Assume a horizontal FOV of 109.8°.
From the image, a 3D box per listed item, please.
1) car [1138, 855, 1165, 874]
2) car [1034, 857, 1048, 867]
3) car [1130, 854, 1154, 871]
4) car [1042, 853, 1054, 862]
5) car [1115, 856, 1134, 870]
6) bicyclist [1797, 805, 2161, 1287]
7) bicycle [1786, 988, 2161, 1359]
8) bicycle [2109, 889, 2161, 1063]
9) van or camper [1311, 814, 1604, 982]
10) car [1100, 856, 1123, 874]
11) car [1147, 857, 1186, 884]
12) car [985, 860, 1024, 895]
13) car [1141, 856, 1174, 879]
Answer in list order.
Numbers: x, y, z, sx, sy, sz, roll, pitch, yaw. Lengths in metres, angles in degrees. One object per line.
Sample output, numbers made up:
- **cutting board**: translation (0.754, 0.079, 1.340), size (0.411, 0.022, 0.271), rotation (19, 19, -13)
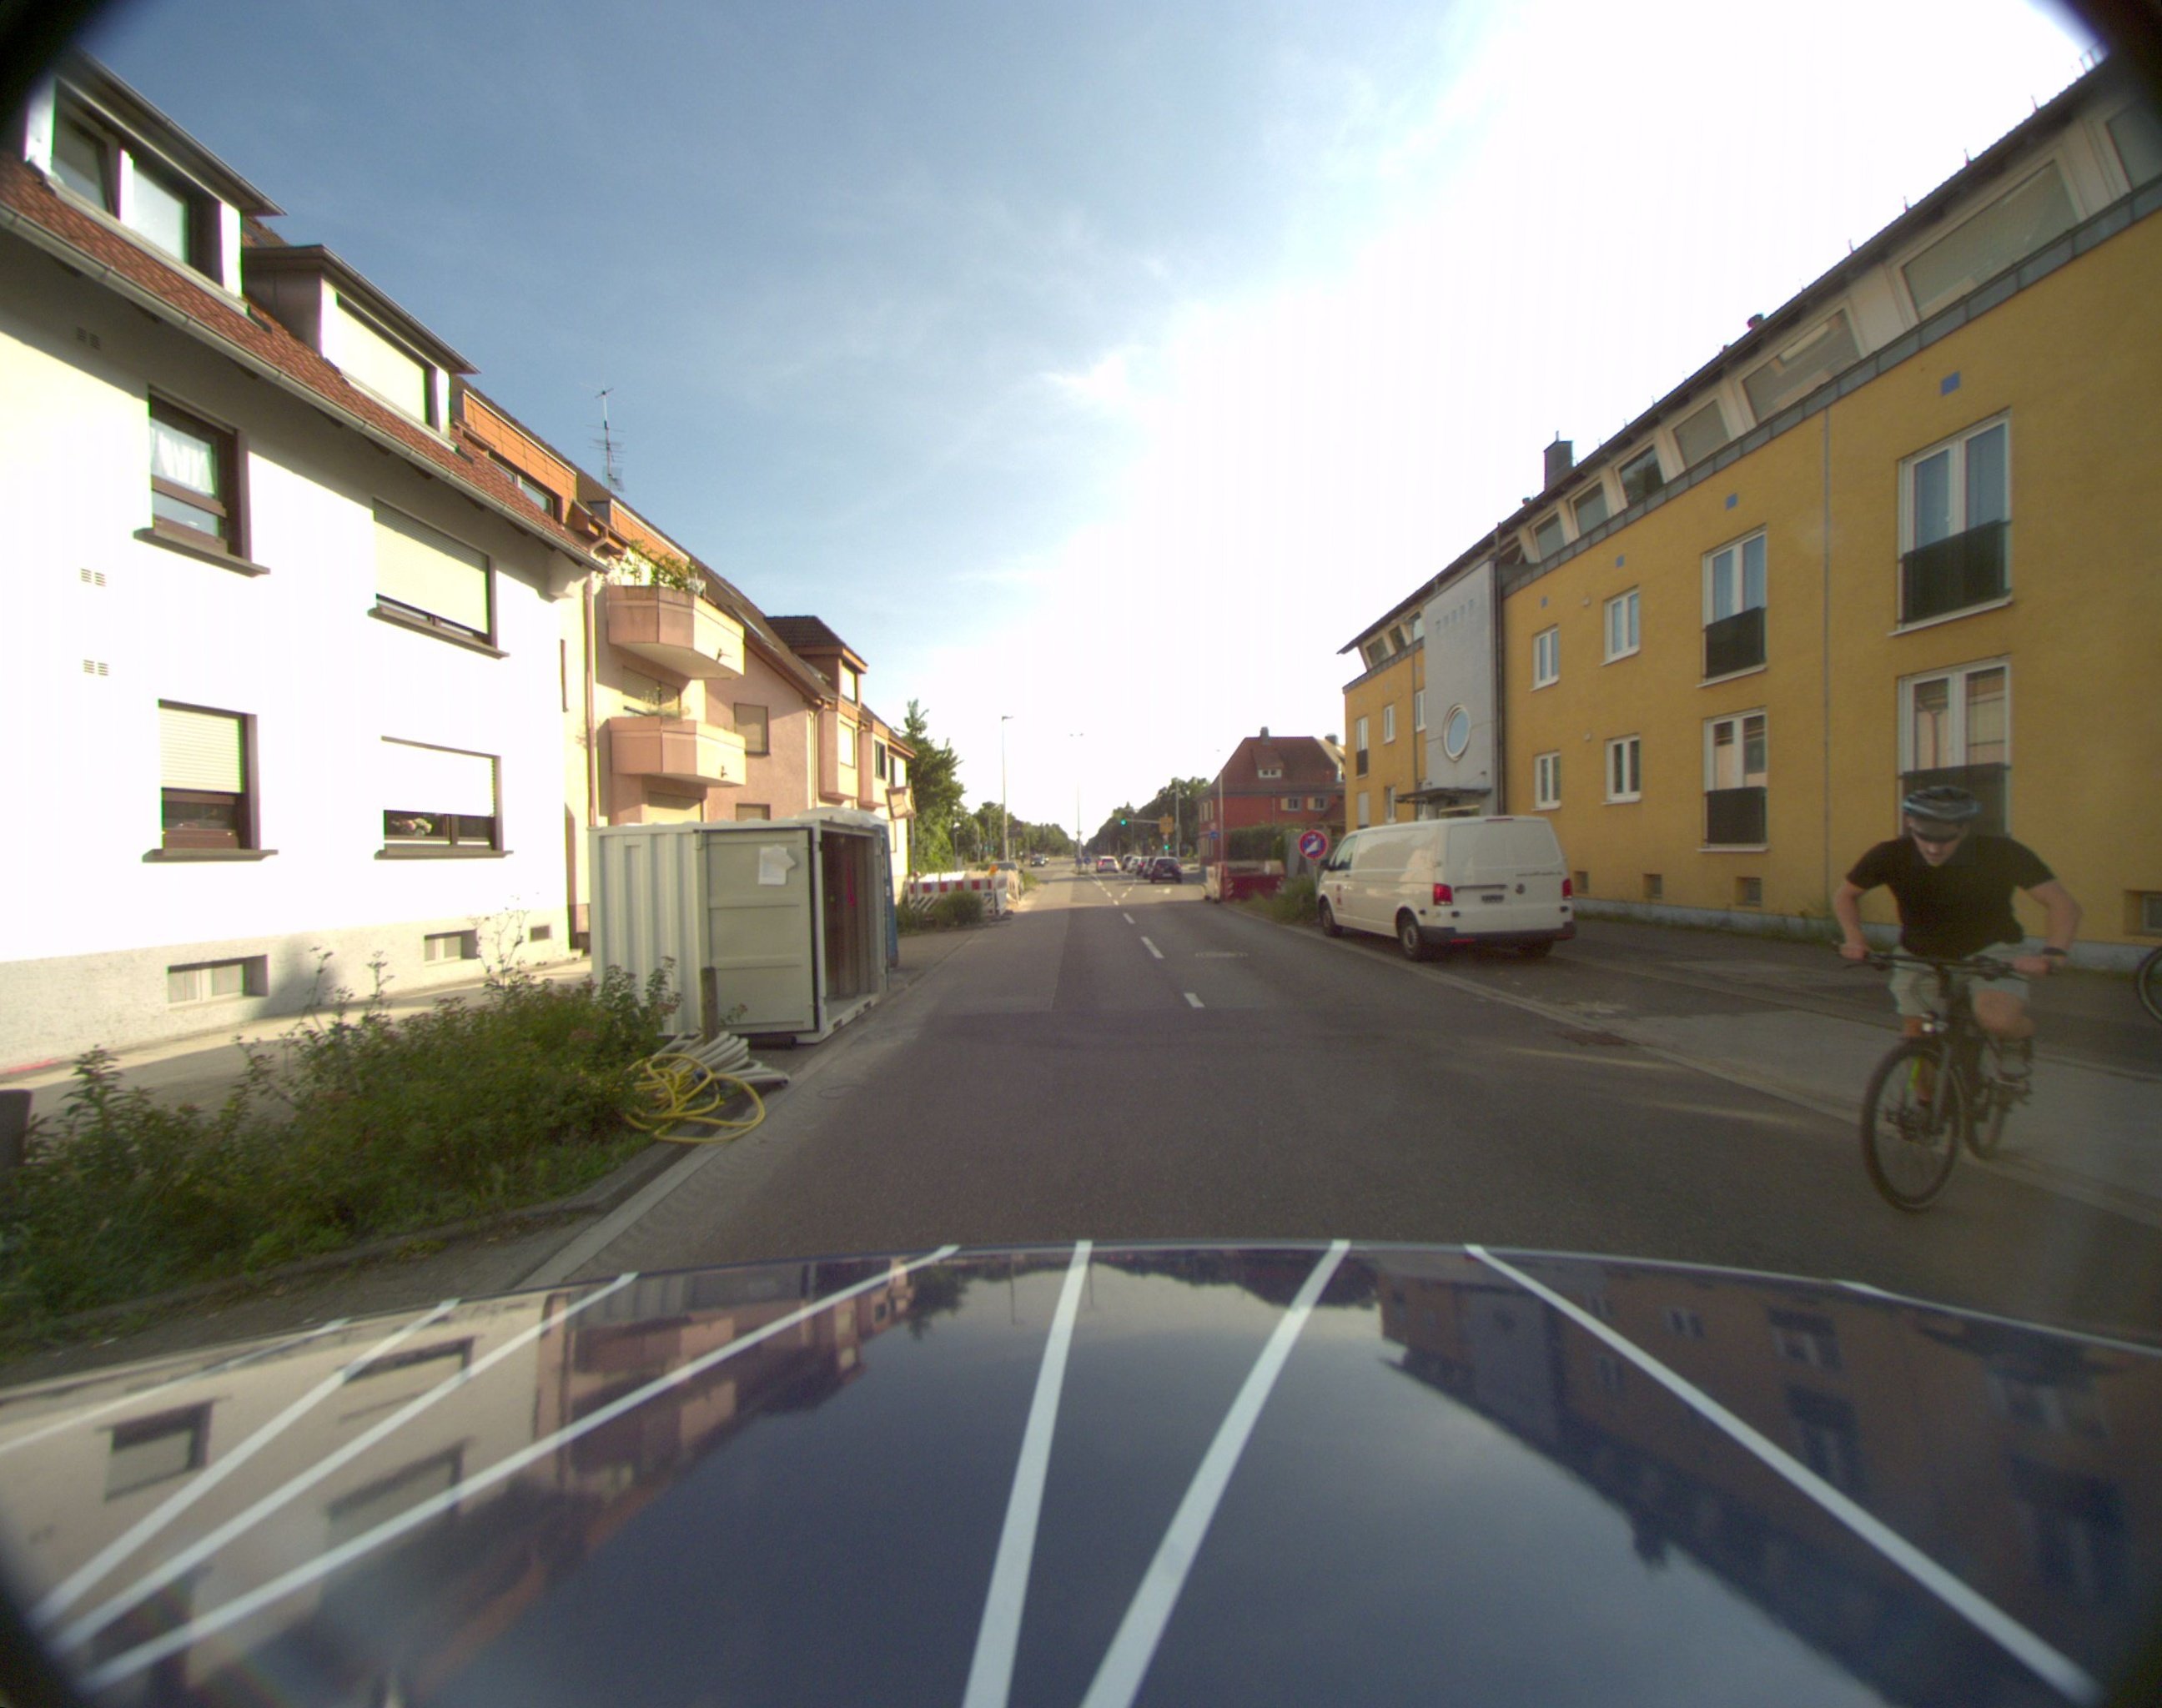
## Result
- **car**: translation (5.603, 0.813, 60.622), size (1.794, 1.433, 4.000), rotation (1, 0, 0)
- **car**: translation (-5.812, 1.095, 109.730), size (1.794, 1.433, 4.000), rotation (1, 0, 0)
- **car**: translation (5.562, 0.762, 69.727), size (1.794, 1.433, 4.000), rotation (-2, 0, 0)
- **car**: translation (-5.690, 0.607, 130.730), size (1.794, 1.433, 4.000), rotation (1, 0, 0)
- **car**: translation (4.577, 0.920, 80.687), size (1.794, 1.433, 4.000), rotation (-2, 0, 0)
- **bicyclist**: translation (3.791, 0.662, 3.222), size (0.879, 1.679, 0.844), rotation (-2, 1, -29)
- **bicycle**: translation (3.854, 1.159, 3.214), size (2.030, 0.849, 0.679), rotation (-2, 0, -30)
- **bicycle**: translation (7.660, 0.822, 4.378), size (0.613, 1.154, 2.021), rotation (-2, 0, -6)
- **van or camper**: translation (5.369, 0.530, 11.784), size (1.999, 1.991, 4.920), rotation (-2, 0, -1)
- **car**: translation (2.763, 0.951, 69.630), size (1.982, 1.520, 4.000), rotation (-2, 0, 0)
- **car**: translation (4.807, 0.892, 43.256), size (1.794, 1.433, 4.000), rotation (1, 0, 0)
- **car**: translation (-3.426, 1.008, 34.404), size (1.635, 1.433, 3.408), rotation (-2, 0, -5)
- **car**: translation (5.104, 0.863, 51.154), size (1.794, 1.433, 4.000), rotation (1, 0, 0)
